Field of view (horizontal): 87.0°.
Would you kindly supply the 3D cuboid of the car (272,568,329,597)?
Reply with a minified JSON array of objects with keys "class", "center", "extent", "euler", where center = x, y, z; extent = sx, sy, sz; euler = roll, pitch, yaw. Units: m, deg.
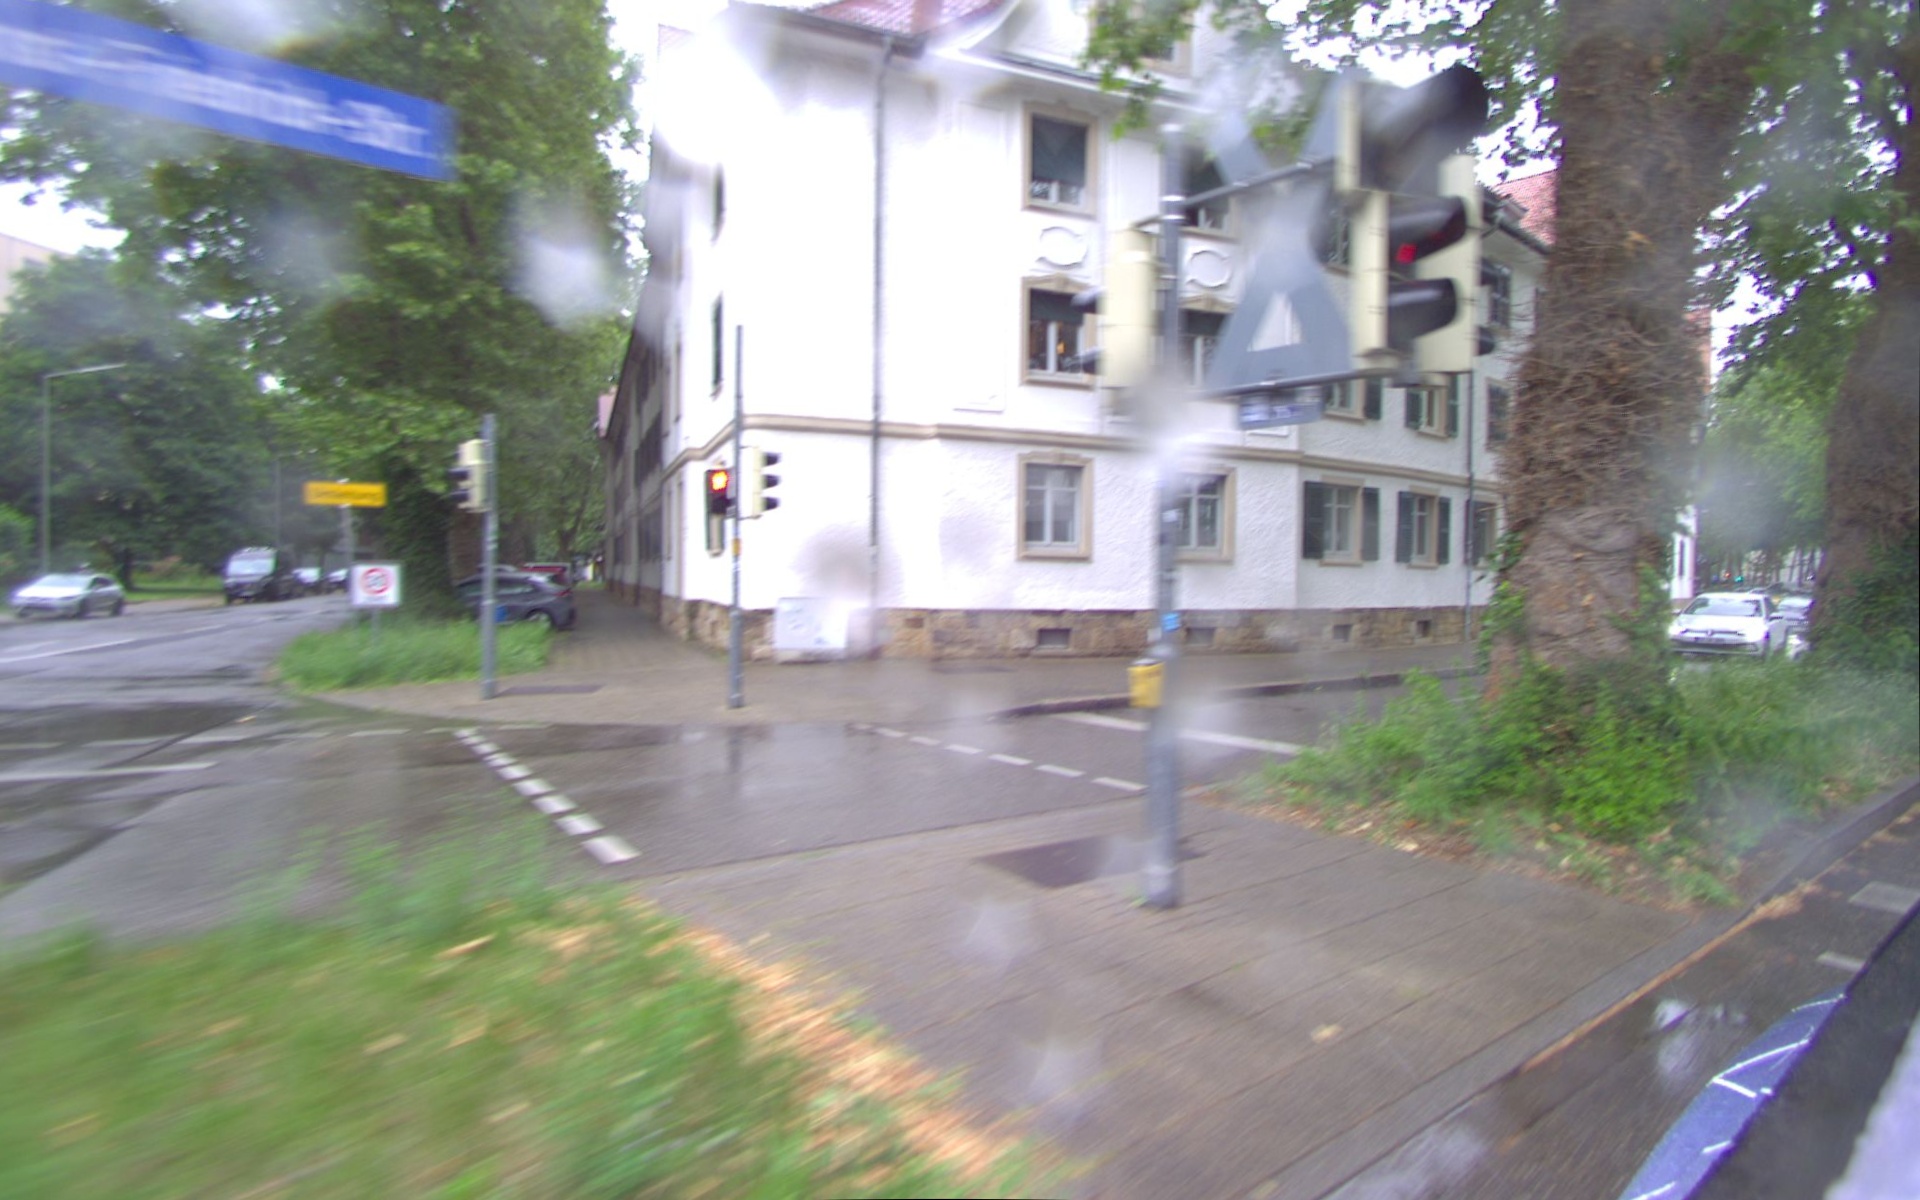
[{"class":"car","center":[-37.476,-1.017,57.622],"extent":[1.958,1.558,4.009],"euler":[-1,2,-21]}]

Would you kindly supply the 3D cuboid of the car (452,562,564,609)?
[{"class":"car","center":[-19.533,-0.630,43.900],"extent":[4.350,1.923,2.038],"euler":[1,1,-23]}]

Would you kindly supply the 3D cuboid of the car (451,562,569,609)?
[{"class":"car","center":[-16.935,-0.546,38.259],"extent":[3.942,1.653,1.941],"euler":[1,1,-21]}]

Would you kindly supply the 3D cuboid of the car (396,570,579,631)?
[{"class":"car","center":[-11.536,-0.030,24.900],"extent":[3.917,1.371,1.800],"euler":[-1,2,-25]}]

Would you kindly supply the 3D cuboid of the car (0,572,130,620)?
[{"class":"car","center":[-29.338,-0.194,33.269],"extent":[1.784,1.477,4.282],"euler":[0,2,-19]}]

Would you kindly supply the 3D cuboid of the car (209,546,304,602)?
[{"class":"car","center":[-33.729,-1.234,48.750],"extent":[2.352,2.506,5.704],"euler":[1,1,-20]}]

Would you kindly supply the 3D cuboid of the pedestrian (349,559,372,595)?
[{"class":"pedestrian","center":[-35.111,-1.337,59.256],"extent":[0.924,2.088,1.083],"euler":[1,0,-17]}]

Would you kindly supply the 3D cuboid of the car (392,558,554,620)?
[{"class":"car","center":[-15.808,-0.335,33.123],"extent":[4.573,1.897,2.038],"euler":[1,1,-21]}]

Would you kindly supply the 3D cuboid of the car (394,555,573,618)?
[{"class":"car","center":[-13.835,-0.389,29.700],"extent":[4.573,1.711,2.038],"euler":[1,1,-21]}]

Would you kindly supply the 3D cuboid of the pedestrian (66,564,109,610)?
[{"class":"pedestrian","center":[-32.812,-0.479,38.075],"extent":[0.924,1.681,0.930],"euler":[1,0,-17]}]

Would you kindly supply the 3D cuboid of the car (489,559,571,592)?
[{"class":"car","center":[-29.018,-1.650,68.492],"extent":[4.983,2.049,2.038],"euler":[1,1,-21]}]

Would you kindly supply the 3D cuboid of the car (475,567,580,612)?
[{"class":"car","center":[-17.917,-0.428,41.929],"extent":[3.917,1.756,2.004],"euler":[1,1,-26]}]

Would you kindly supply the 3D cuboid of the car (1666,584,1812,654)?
[{"class":"car","center":[17.665,0.388,22.890],"extent":[4.322,1.451,1.780],"euler":[0,-1,-41]}]

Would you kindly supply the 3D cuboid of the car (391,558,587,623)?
[{"class":"car","center":[-12.618,-0.250,27.400],"extent":[4.641,1.643,1.934],"euler":[1,1,-23]}]
